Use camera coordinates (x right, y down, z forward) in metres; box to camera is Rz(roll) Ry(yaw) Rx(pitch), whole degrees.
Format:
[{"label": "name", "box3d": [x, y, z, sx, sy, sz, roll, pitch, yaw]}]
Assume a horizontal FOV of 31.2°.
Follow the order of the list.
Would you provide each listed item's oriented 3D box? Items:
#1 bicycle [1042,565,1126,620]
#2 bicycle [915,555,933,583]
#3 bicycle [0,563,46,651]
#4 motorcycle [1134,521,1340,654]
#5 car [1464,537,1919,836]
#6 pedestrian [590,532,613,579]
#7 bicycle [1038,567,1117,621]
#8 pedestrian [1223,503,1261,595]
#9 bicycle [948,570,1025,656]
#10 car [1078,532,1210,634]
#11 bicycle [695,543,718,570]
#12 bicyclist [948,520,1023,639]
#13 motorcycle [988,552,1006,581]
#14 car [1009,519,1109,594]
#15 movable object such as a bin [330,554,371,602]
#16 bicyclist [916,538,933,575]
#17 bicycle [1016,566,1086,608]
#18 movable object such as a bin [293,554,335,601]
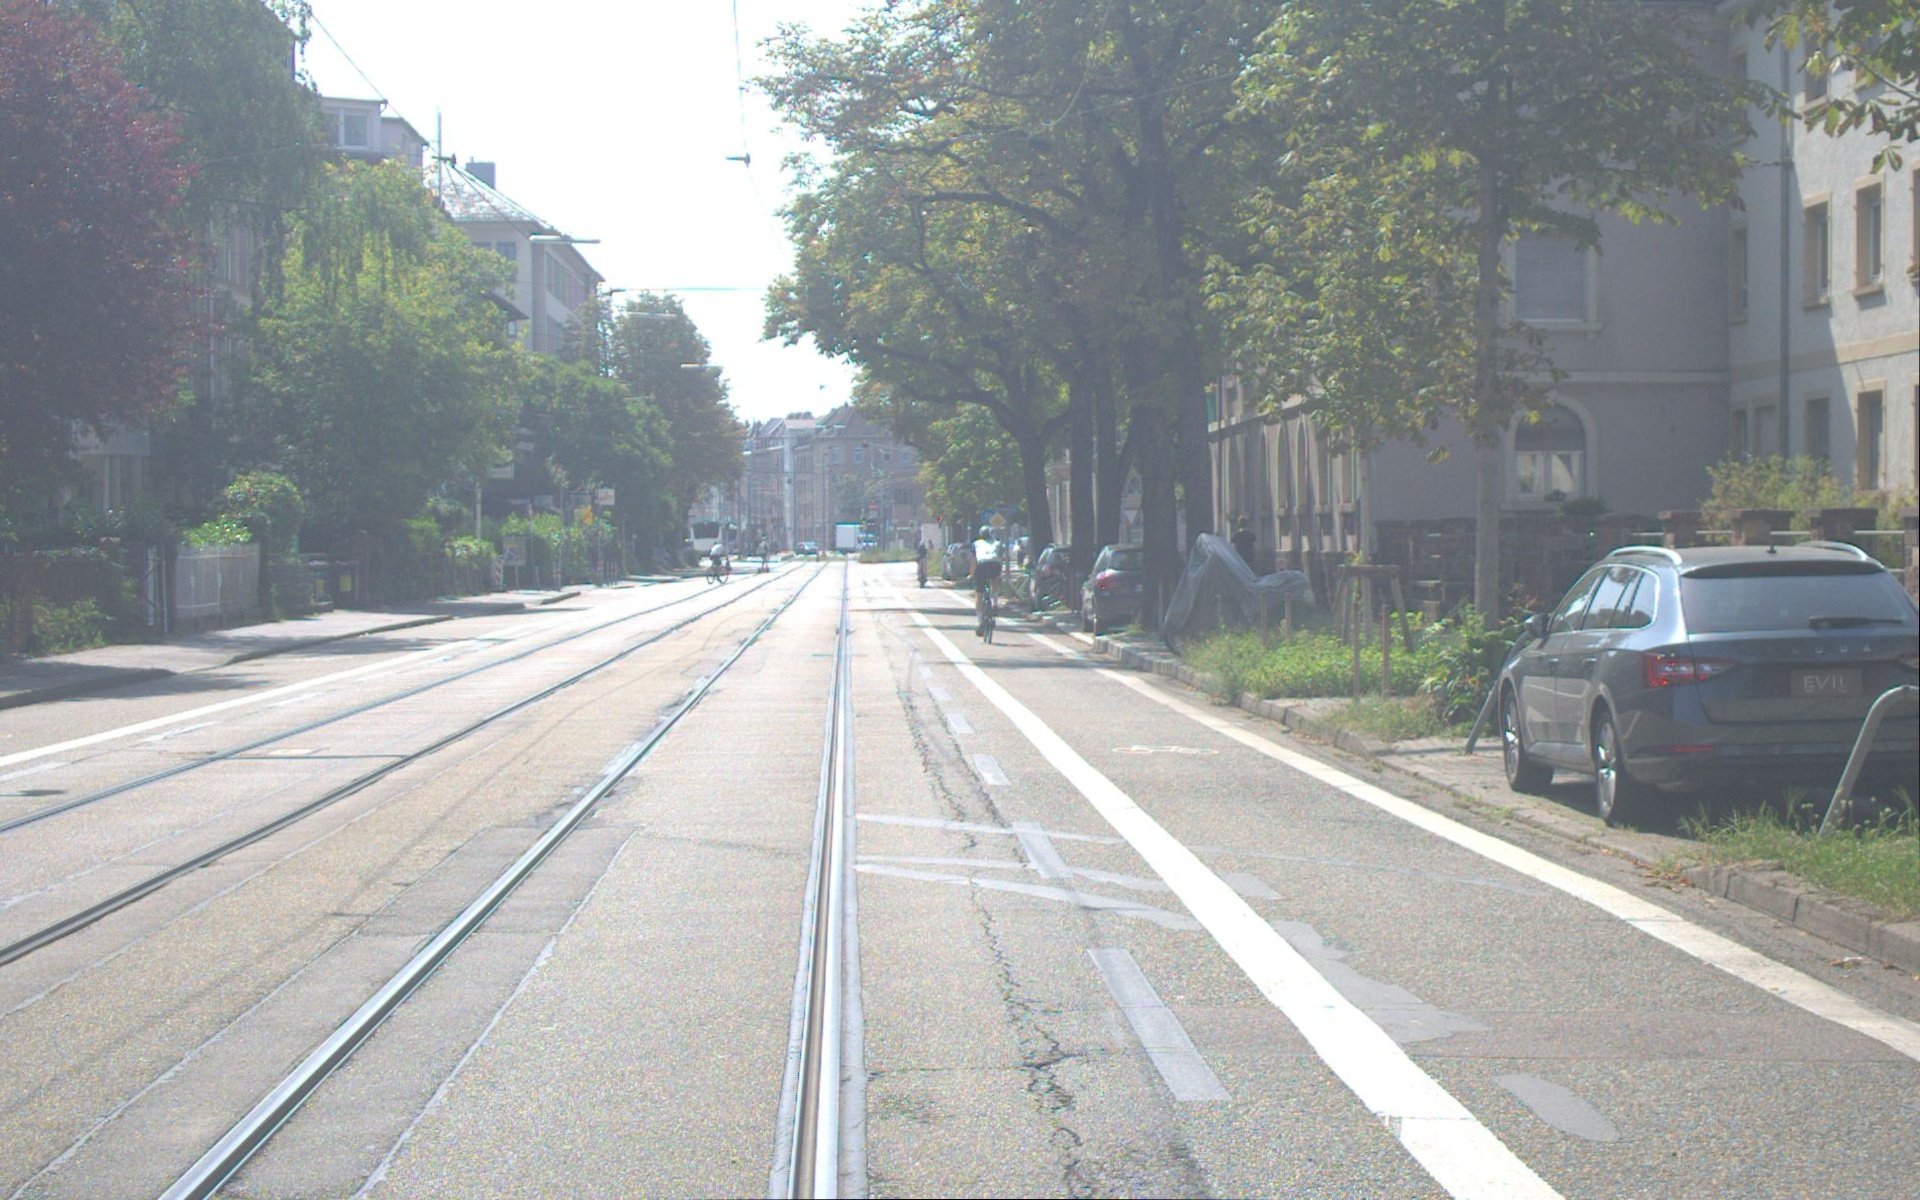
[{"label": "bicycle", "box3d": [2.579, -0.158, 71.438, 1.722, 1.145, 0.377, 0, 1, 5]}, {"label": "bicycle", "box3d": [-1.251, -1.082, 120.268, 0.588, 0.936, 2.172, 0, 0, 1]}, {"label": "bicycle", "box3d": [-13.433, 0.077, 46.708, 1.812, 1.178, 0.716, 1, 0, 1]}, {"label": "motorcycle", "box3d": [3.375, -0.140, 42.027, 2.344, 1.535, 0.966, -2, -1, 40]}, {"label": "car", "box3d": [4.261, 0.390, 19.565, 1.892, 1.472, 4.841, -1, 1, -2]}, {"label": "pedestrian", "box3d": [-13.708, -1.705, 131.553, 0.779, 1.750, 1.040, -1, 0, -1]}, {"label": "bicycle", "box3d": [2.425, -0.124, 71.055, 1.606, 1.100, 0.398, 0, 1, 5]}, {"label": "pedestrian", "box3d": [5.833, -1.046, 71.122, 0.706, 1.885, 0.714, 0, 0, 0]}, {"label": "bicycle", "box3d": [0.396, 0.180, 53.308, 1.148, 1.265, 2.712, -1, 1, 0]}, {"label": "car", "box3d": [3.051, -0.313, 57.705, 1.840, 1.527, 4.116, -1, 2, -2]}, {"label": "bicycle", "box3d": [-9.654, -1.647, 130.899, 0.758, 0.987, 2.298, 0, 0, -2]}, {"label": "bicyclist", "box3d": [0.387, -0.321, 53.360, 1.125, 1.830, 0.956, 0, 0, -1]}, {"label": "motorcycle", "box3d": [1.374, -1.236, 127.853, 0.549, 1.064, 2.330, 0, 0, -2]}, {"label": "car", "box3d": [2.133, -0.960, 75.368, 1.840, 1.527, 4.780, -2, 1, -2]}, {"label": "movable object such as a bin", "box3d": [-14.008, -0.506, 79.021, 0.786, 1.072, 0.803, 1, 0, 1]}, {"label": "bicyclist", "box3d": [-1.253, -1.515, 120.263, 0.579, 1.274, 0.471, 0, 0, 1]}, {"label": "bicycle", "box3d": [2.267, -0.321, 85.457, 1.713, 1.028, 0.566, 0, 0, -1]}, {"label": "movable object such as a bin", "box3d": [-14.849, -0.513, 79.008, 0.786, 1.072, 0.803, 1, 0, 1]}]
